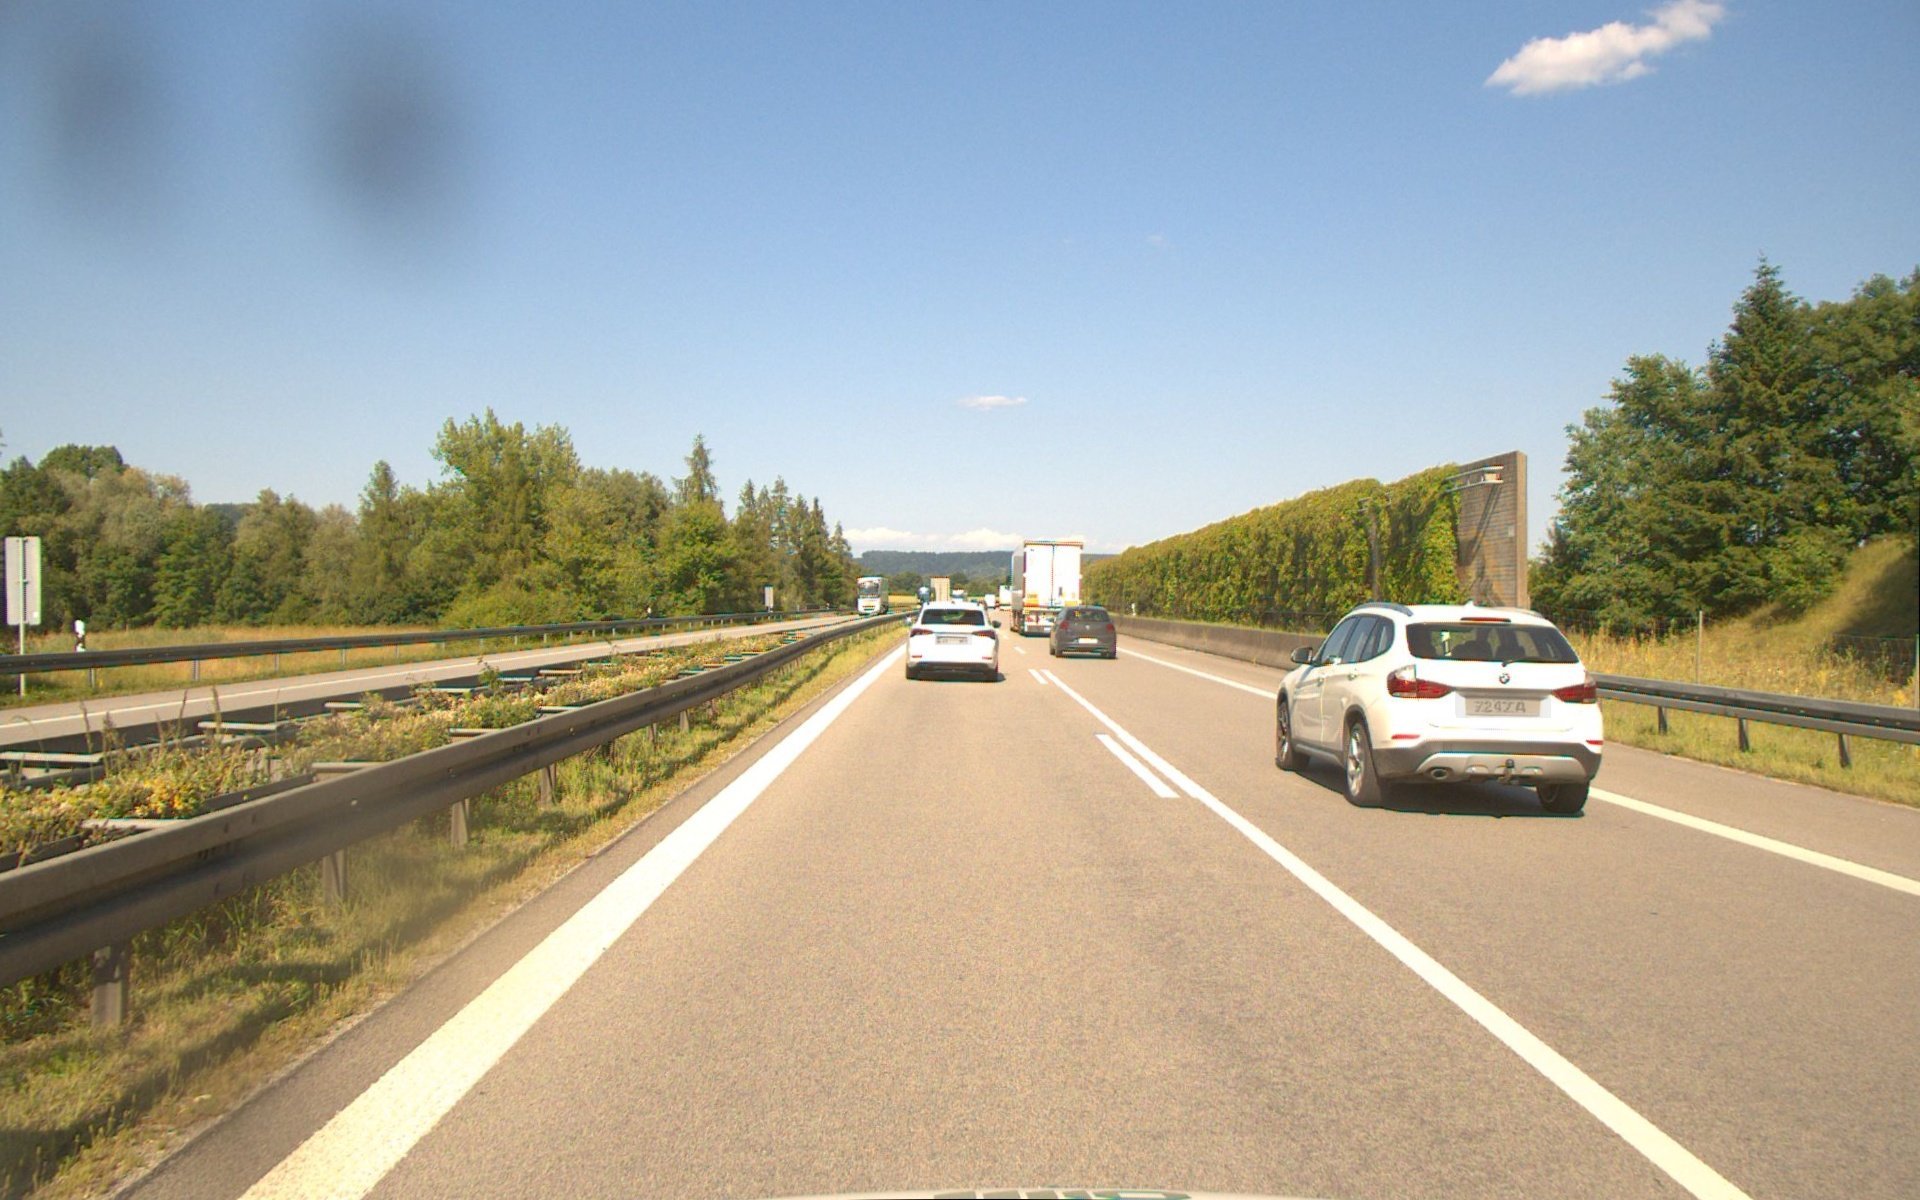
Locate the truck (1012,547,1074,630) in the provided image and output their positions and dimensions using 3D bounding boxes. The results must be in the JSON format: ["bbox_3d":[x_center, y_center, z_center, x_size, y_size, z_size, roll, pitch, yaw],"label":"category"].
[{"bbox_3d":[4.148,-0.558,84.234,2.782,4.036,7.044,-1,0,0],"label":"truck"}]

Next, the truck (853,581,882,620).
[{"bbox_3d":[-9.984,0.062,178.537,2.589,4.078,7.193,-1,0,0],"label":"truck"}]

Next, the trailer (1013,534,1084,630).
[{"bbox_3d":[3.995,-0.777,77.562,2.760,4.036,14.161,-1,0,1],"label":"trailer"}]

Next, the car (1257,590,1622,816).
[{"bbox_3d":[3.830,0.713,14.162,1.650,1.522,4.987,1,1,0],"label":"car"}]

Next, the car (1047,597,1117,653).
[{"bbox_3d":[3.422,0.682,47.014,1.631,1.480,4.544,1,0,0],"label":"car"}]

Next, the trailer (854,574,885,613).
[{"bbox_3d":[-9.862,-0.710,181.989,2.607,4.078,14.087,-1,0,0],"label":"trailer"}]

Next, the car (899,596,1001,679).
[{"bbox_3d":[-0.164,0.669,32.559,1.802,1.446,5.254,2,0,0],"label":"car"}]

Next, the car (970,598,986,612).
[{"bbox_3d":[2.004,0.570,186.021,1.735,1.446,4.494,1,0,-1],"label":"car"}]
